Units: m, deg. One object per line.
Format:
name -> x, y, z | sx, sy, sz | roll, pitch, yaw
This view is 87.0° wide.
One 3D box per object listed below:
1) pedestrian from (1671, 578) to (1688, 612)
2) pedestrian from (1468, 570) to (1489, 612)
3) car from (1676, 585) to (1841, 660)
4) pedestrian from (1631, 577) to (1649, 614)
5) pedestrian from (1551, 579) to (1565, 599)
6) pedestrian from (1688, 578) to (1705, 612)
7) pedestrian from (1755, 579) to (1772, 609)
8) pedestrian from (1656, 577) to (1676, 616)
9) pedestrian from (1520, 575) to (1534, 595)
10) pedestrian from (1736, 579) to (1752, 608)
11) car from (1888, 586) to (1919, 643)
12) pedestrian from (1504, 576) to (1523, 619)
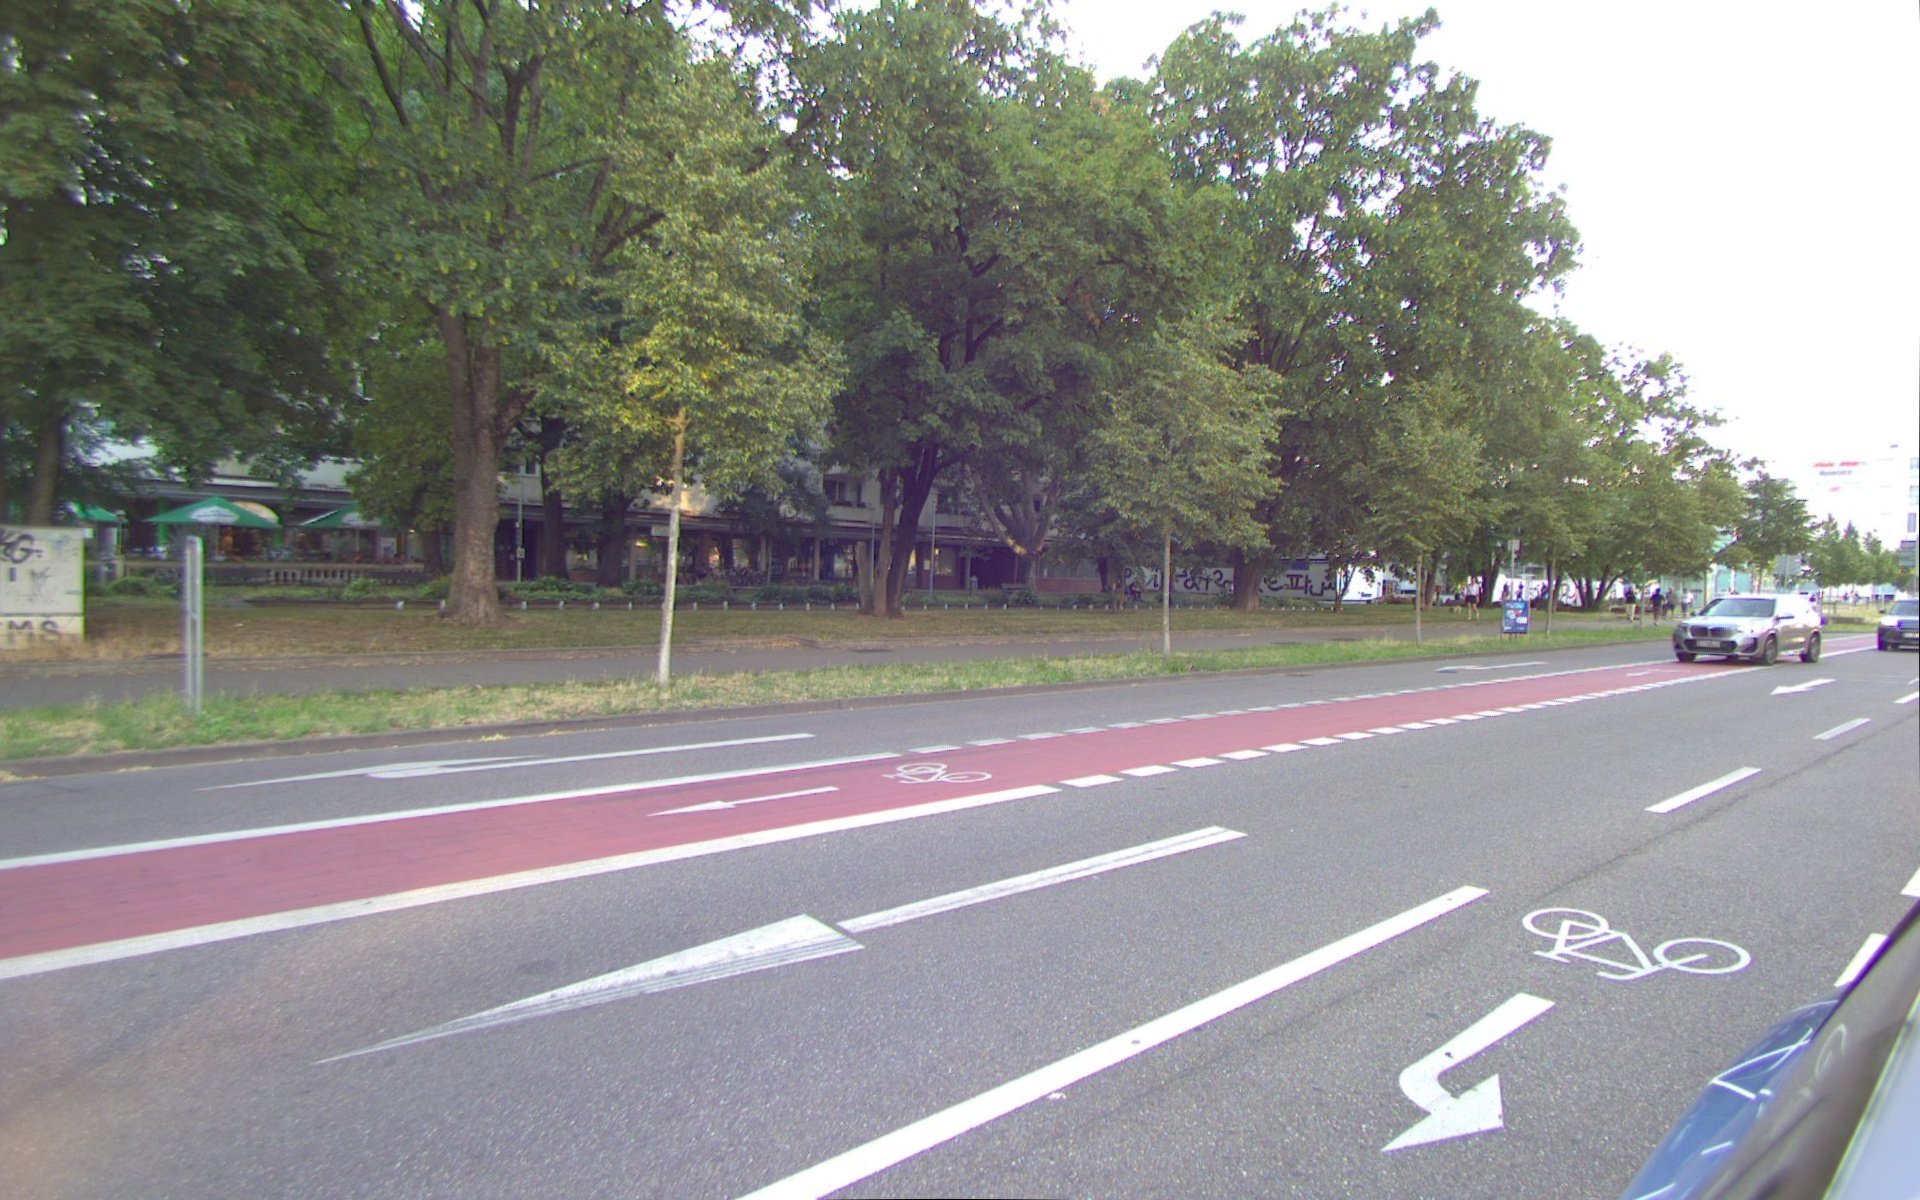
pedestrian -> 37.891, -0.263, 53.262 | 0.707, 1.751, 0.519 | 0, 2, -40
pedestrian -> 20.048, -0.354, 39.138 | 0.513, 1.621, 0.500 | 0, 2, -41
car -> 19.047, 0.497, 24.102 | 4.252, 1.642, 1.828 | 0, 0, -33
pedestrian -> 32.631, -0.227, 48.581 | 0.707, 1.751, 0.508 | 0, 2, -41
pedestrian -> 41.942, -0.758, 70.929 | 0.550, 1.371, 0.662 | 0, 2, -40
pedestrian -> 38.322, -0.249, 52.633 | 0.707, 1.751, 0.508 | 0, 2, -41
pedestrian -> 47.993, -0.367, 60.465 | 0.497, 1.779, 0.638 | 0, 2, -40
pedestrian -> 32.032, -0.160, 45.897 | 0.546, 1.760, 0.558 | 0, 2, -41
pedestrian -> 40.281, -1.086, 71.841 | 0.669, 1.371, 0.631 | 0, 2, -41
pedestrian -> 47.463, -0.396, 61.257 | 0.497, 1.779, 0.638 | 0, 2, -40
car -> 29.584, 0.443, 30.567 | 4.141, 1.647, 1.781 | 0, 1, -41
pedestrian -> 20.994, -0.088, 38.379 | 0.359, 1.621, 0.500 | 1, 2, -40
